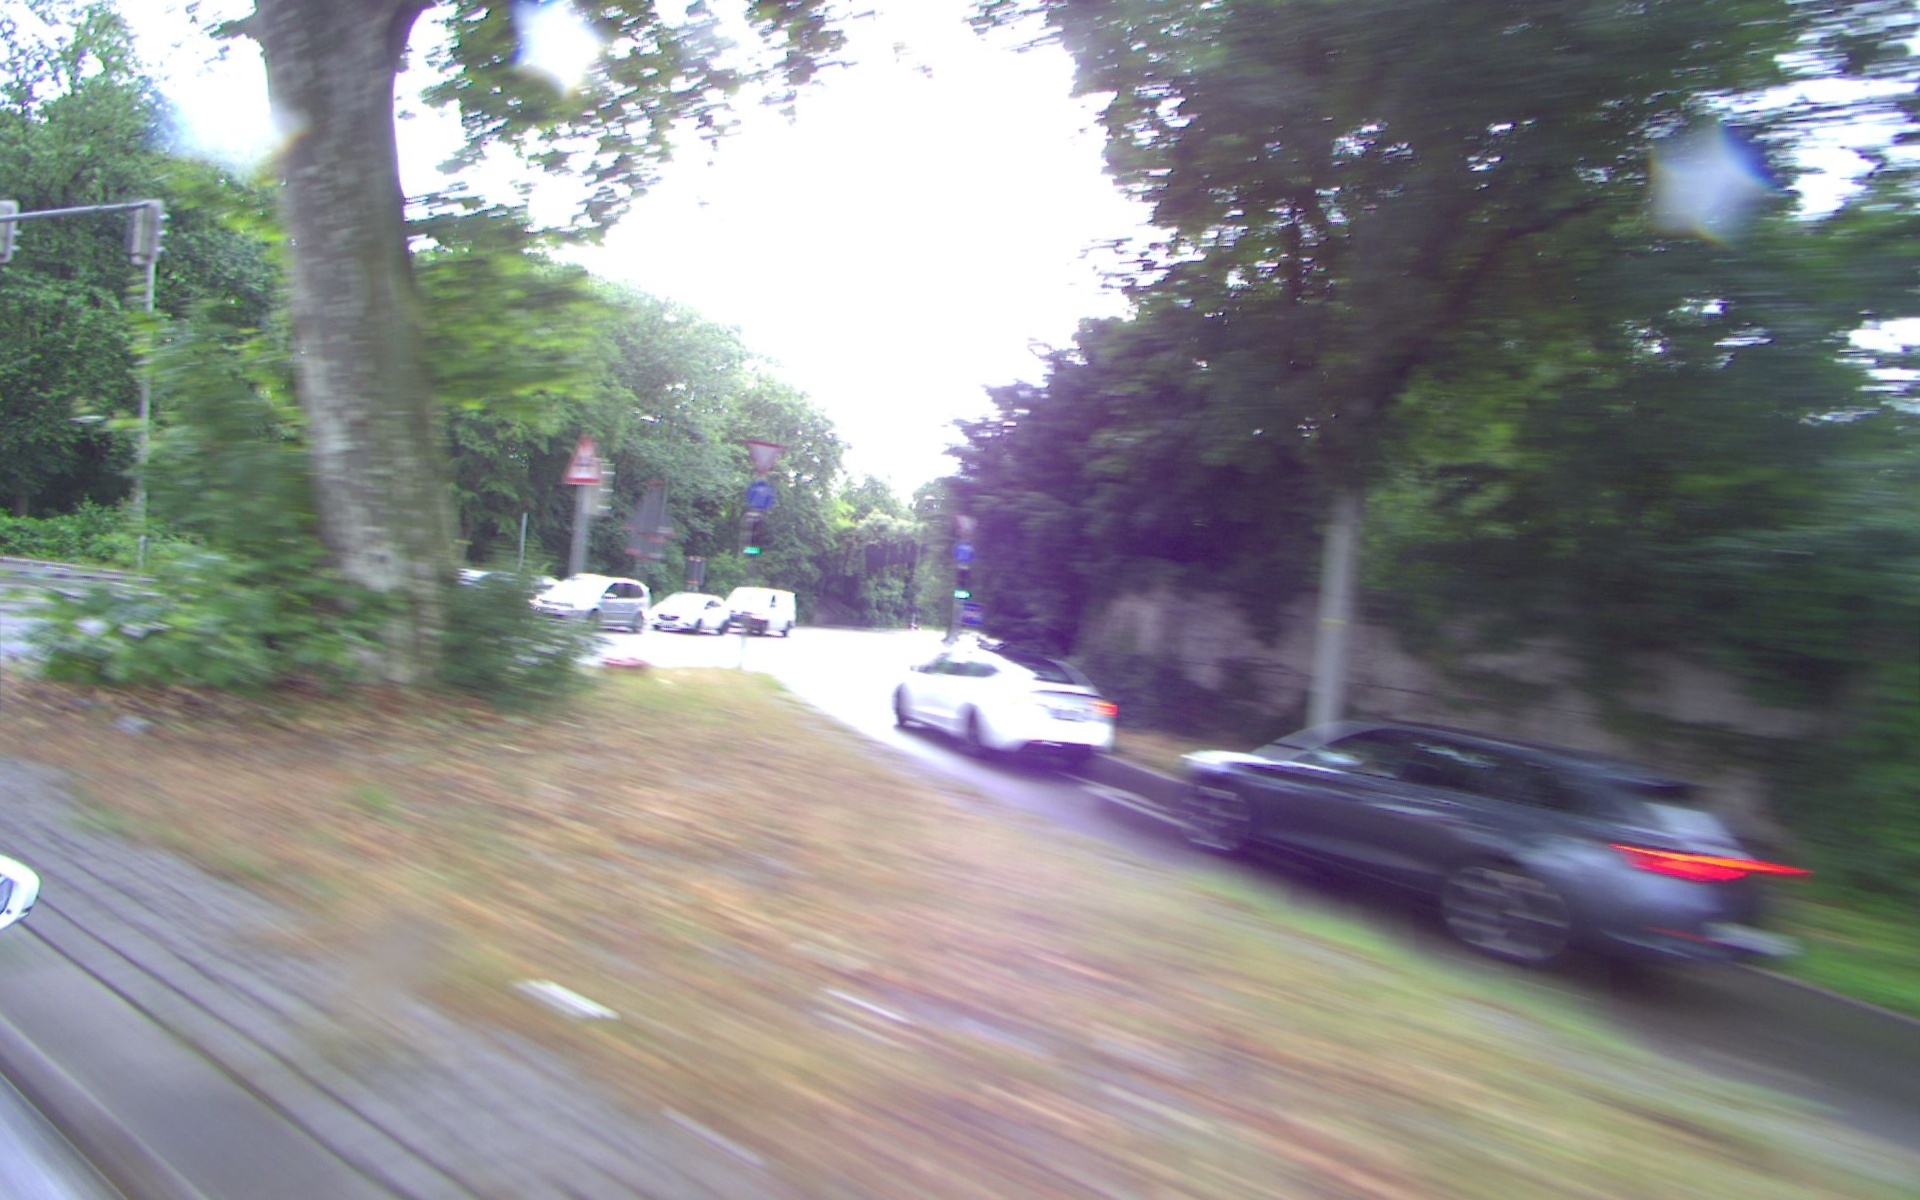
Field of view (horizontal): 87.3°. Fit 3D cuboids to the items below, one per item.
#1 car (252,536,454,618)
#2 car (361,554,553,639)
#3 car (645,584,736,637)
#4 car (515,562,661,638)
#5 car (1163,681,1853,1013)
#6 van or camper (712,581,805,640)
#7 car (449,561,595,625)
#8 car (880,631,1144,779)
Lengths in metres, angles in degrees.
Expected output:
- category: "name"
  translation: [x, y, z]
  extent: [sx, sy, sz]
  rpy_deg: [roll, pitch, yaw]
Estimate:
- category: "car"
  translation: [-15.595, -0.523, 26.130]
  extent: [1.913, 1.456, 4.221]
  rpy_deg: [7, -3, 15]
- category: "car"
  translation: [-12.192, -0.005, 24.734]
  extent: [1.759, 1.476, 4.208]
  rpy_deg: [7, -3, 15]
- category: "car"
  translation: [-9.817, 0.424, 36.904]
  extent: [1.626, 1.477, 3.872]
  rpy_deg: [7, -3, 9]
- category: "car"
  translation: [-11.111, 0.073, 30.397]
  extent: [1.871, 1.698, 4.219]
  rpy_deg: [7, -3, 15]
- category: "car"
  translation: [3.788, 1.661, 7.871]
  extent: [1.737, 1.417, 4.383]
  rpy_deg: [11, -4, -29]
- category: "van or camper"
  translation: [-8.506, 0.511, 43.023]
  extent: [1.870, 1.969, 4.873]
  rpy_deg: [7, -2, 13]
- category: "car"
  translation: [-13.890, -0.160, 32.237]
  extent: [1.795, 1.417, 4.455]
  rpy_deg: [7, -3, 15]
- category: "car"
  translation: [0.537, 1.417, 14.788]
  extent: [1.836, 1.464, 4.594]
  rpy_deg: [10, -3, -24]
